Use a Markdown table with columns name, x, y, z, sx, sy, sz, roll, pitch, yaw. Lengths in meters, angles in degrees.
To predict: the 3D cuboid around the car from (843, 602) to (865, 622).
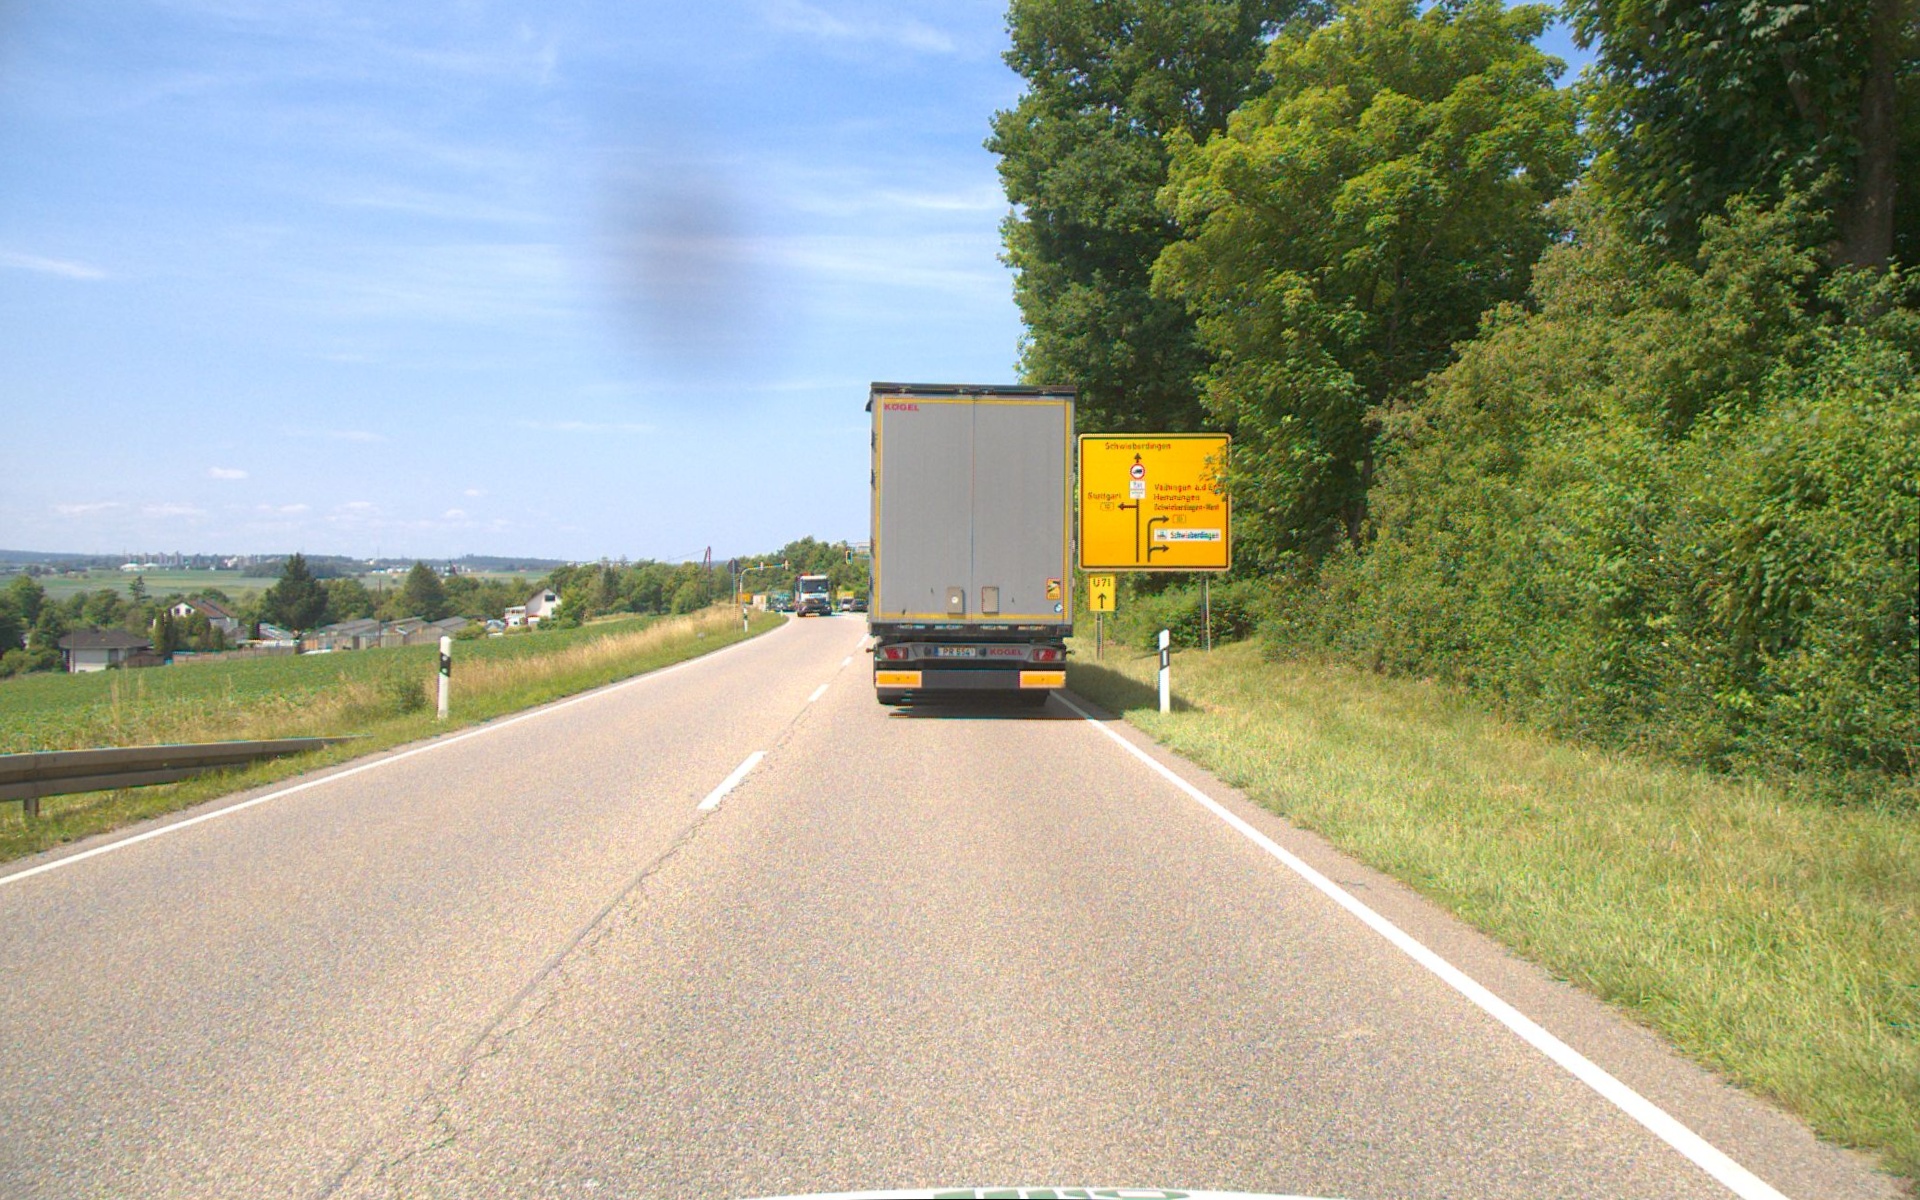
| name | x | y | z | sx | sy | sz | roll | pitch | yaw |
| --- | --- | --- | --- | --- | --- | --- | --- | --- | --- |
| car | -11.720 | 1.347 | 183.093 | 2.130 | 2.049 | 4.520 | -3 | 0 | -7 |

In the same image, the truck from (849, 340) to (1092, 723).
| name | x | y | z | sx | sy | sz | roll | pitch | yaw |
| --- | --- | --- | --- | --- | --- | --- | --- | --- | --- |
| truck | -0.157 | -0.812 | 23.917 | 2.849 | 4.487 | 8.853 | 0 | 0 | -4 |

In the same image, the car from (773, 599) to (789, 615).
| name | x | y | z | sx | sy | sz | roll | pitch | yaw |
| --- | --- | --- | --- | --- | --- | --- | --- | --- | --- |
| car | -23.967 | 0.920 | 221.390 | 1.956 | 1.984 | 4.494 | -3 | 0 | -8 |

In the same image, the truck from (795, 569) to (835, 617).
| name | x | y | z | sx | sy | sz | roll | pitch | yaw |
| --- | --- | --- | --- | --- | --- | --- | --- | --- | --- |
| truck | -11.780 | -0.502 | 133.713 | 2.704 | 3.638 | 11.047 | -3 | 0 | -7 |
